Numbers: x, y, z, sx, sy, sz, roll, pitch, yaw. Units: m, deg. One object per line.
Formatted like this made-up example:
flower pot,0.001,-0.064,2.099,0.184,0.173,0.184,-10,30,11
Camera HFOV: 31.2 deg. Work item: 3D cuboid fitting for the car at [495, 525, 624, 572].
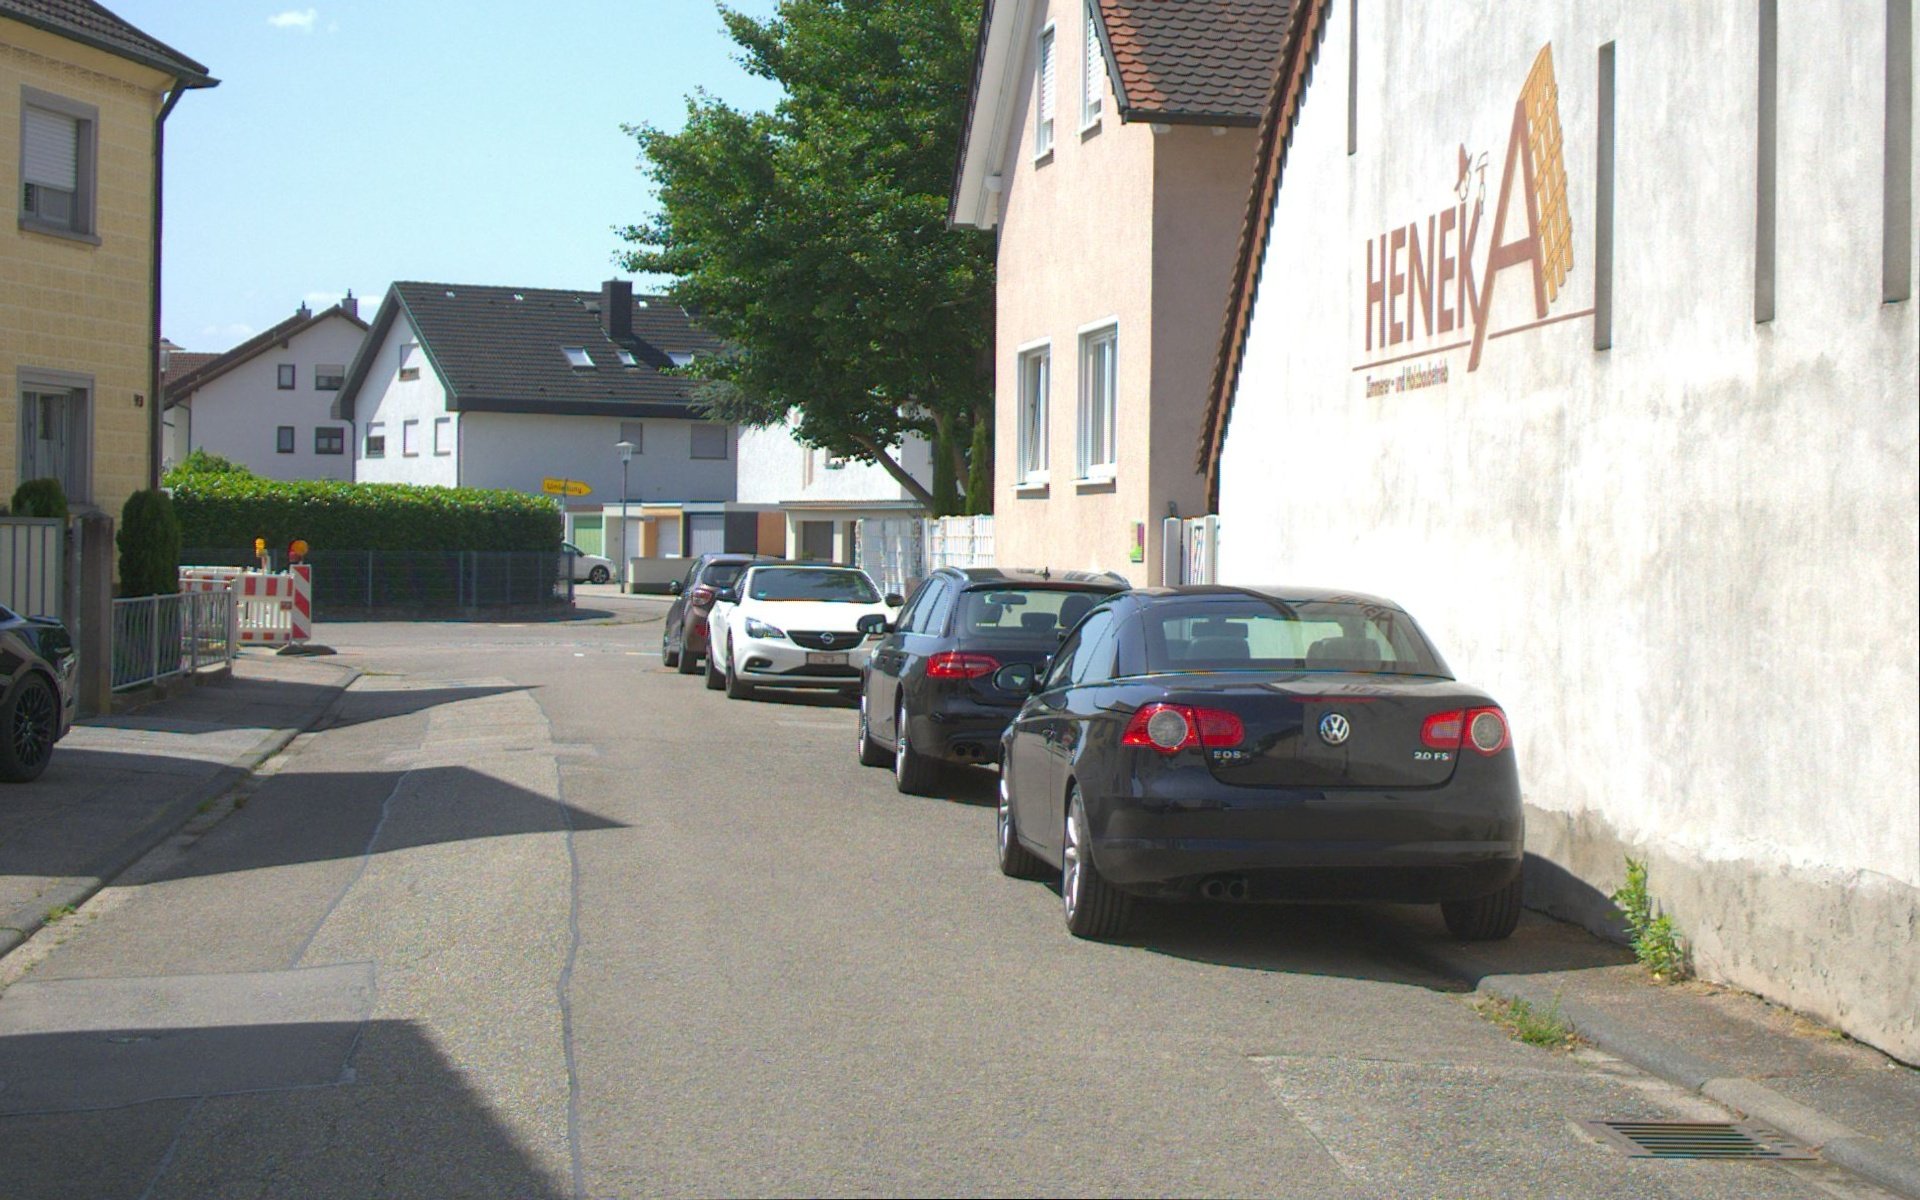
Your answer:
car,-12.674,-1.626,108.793,3.599,1.403,1.784,1,1,-29

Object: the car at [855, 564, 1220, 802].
car,0.398,0.473,22.948,1.895,1.360,4.738,1,1,-5

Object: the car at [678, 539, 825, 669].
car,-2.686,0.017,43.609,1.712,1.527,4.036,1,1,-5

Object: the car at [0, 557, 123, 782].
car,-6.695,0.392,20.150,1.770,1.345,4.467,2,0,10

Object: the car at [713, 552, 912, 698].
car,-1.655,0.218,36.968,1.895,1.424,4.738,1,1,-5

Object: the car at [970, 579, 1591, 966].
car,1.206,0.633,14.979,1.895,1.360,4.415,1,1,-5
